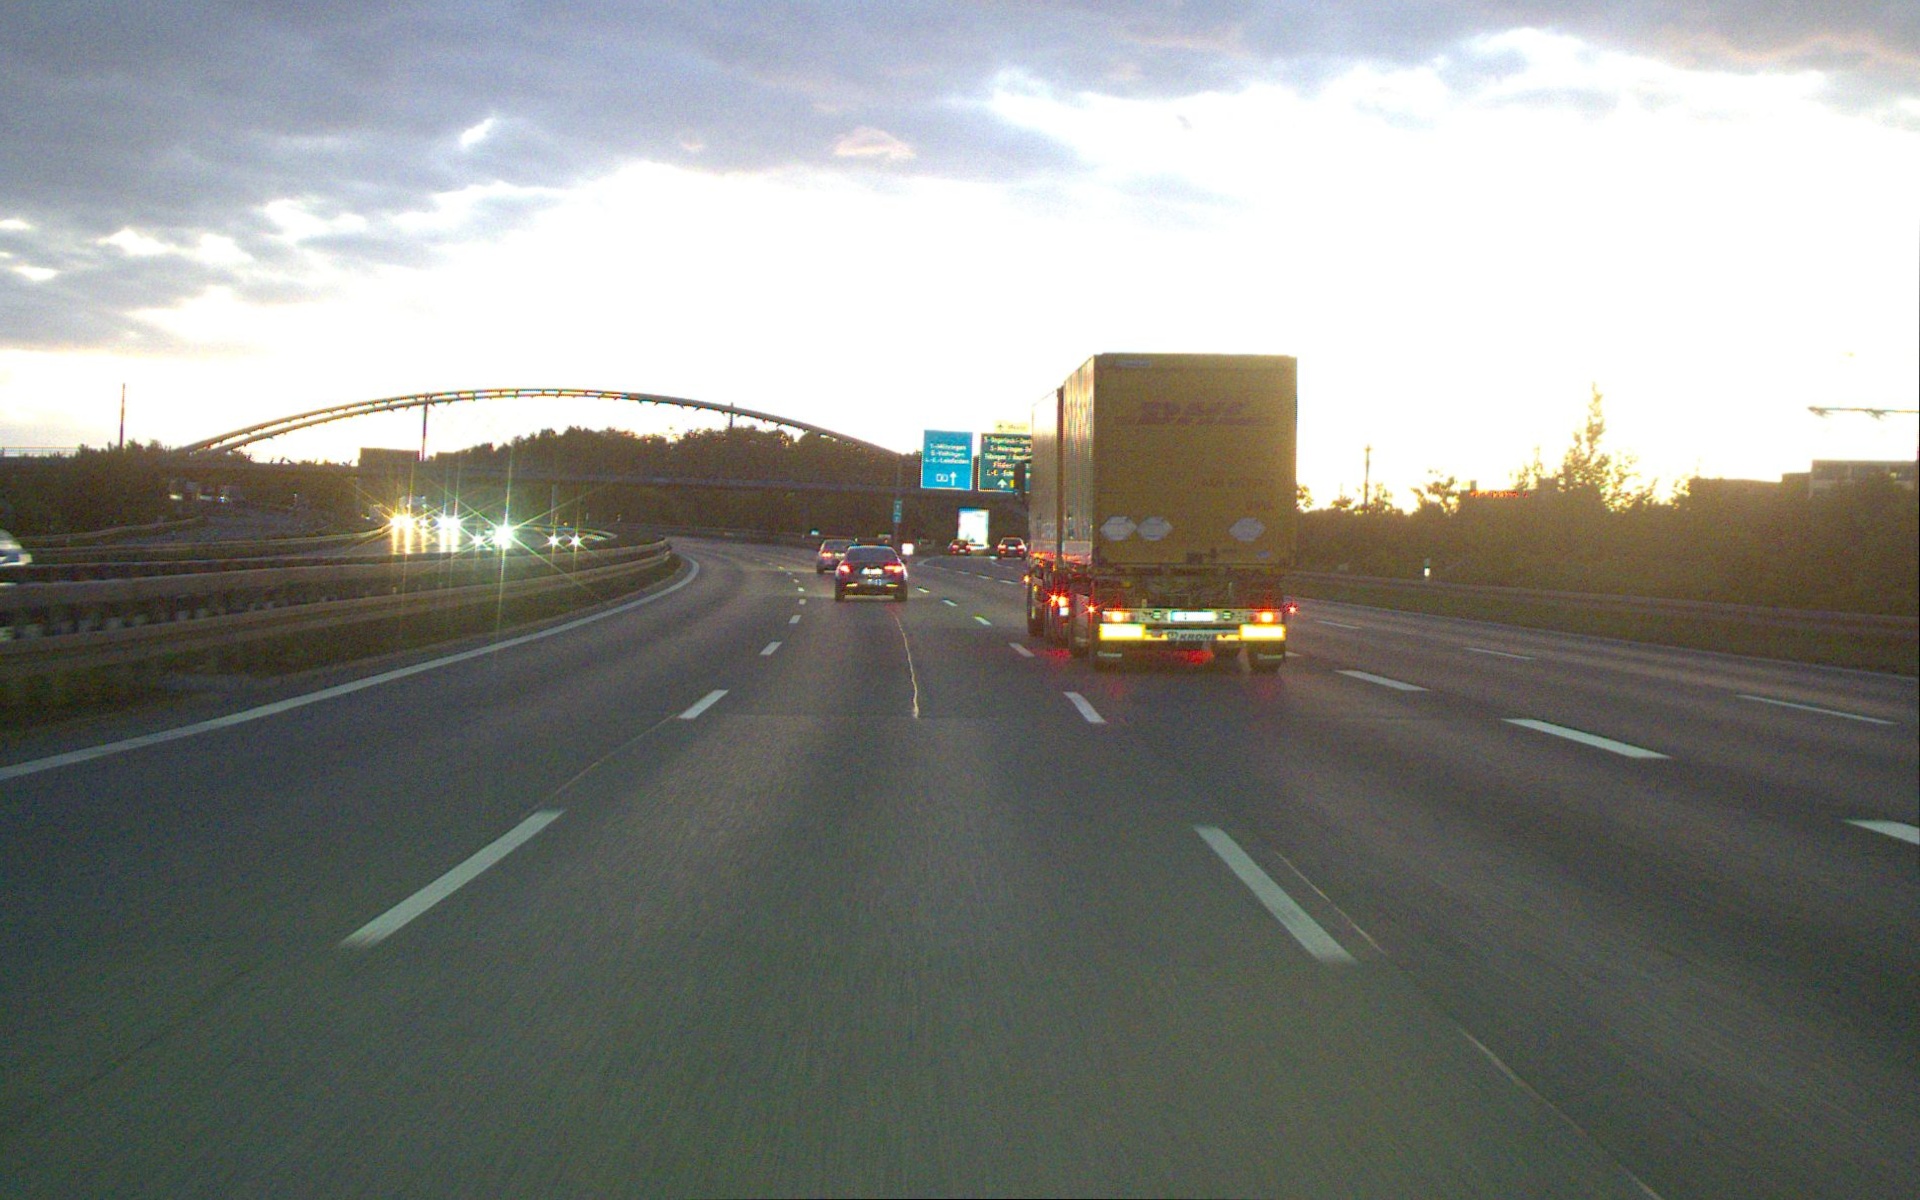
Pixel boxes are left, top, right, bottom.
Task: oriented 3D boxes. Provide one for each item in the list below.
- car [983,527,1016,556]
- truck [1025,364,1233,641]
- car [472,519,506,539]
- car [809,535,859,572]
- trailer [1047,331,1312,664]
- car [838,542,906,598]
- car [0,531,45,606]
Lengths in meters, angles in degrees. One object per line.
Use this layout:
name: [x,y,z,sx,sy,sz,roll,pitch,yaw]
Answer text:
car: [2.636,-3.868,227.253,1.994,1.711,3.999,2,-1,2]
truck: [2.624,-1.558,56.493,2.690,4.057,10.521,1,1,-1]
car: [-29.745,-4.508,217.157,1.721,1.223,4.184,1,1,-3]
car: [-5.191,-1.906,141.999,1.690,1.397,3.408,1,-1,4]
trailer: [2.820,-1.351,46.836,2.721,4.057,8.832,1,1,-2]
car: [-2.311,-0.767,89.644,1.689,1.396,3.409,1,0,-2]
car: [-18.551,-0.606,63.798,1.993,1.353,4.866,1,1,-2]
